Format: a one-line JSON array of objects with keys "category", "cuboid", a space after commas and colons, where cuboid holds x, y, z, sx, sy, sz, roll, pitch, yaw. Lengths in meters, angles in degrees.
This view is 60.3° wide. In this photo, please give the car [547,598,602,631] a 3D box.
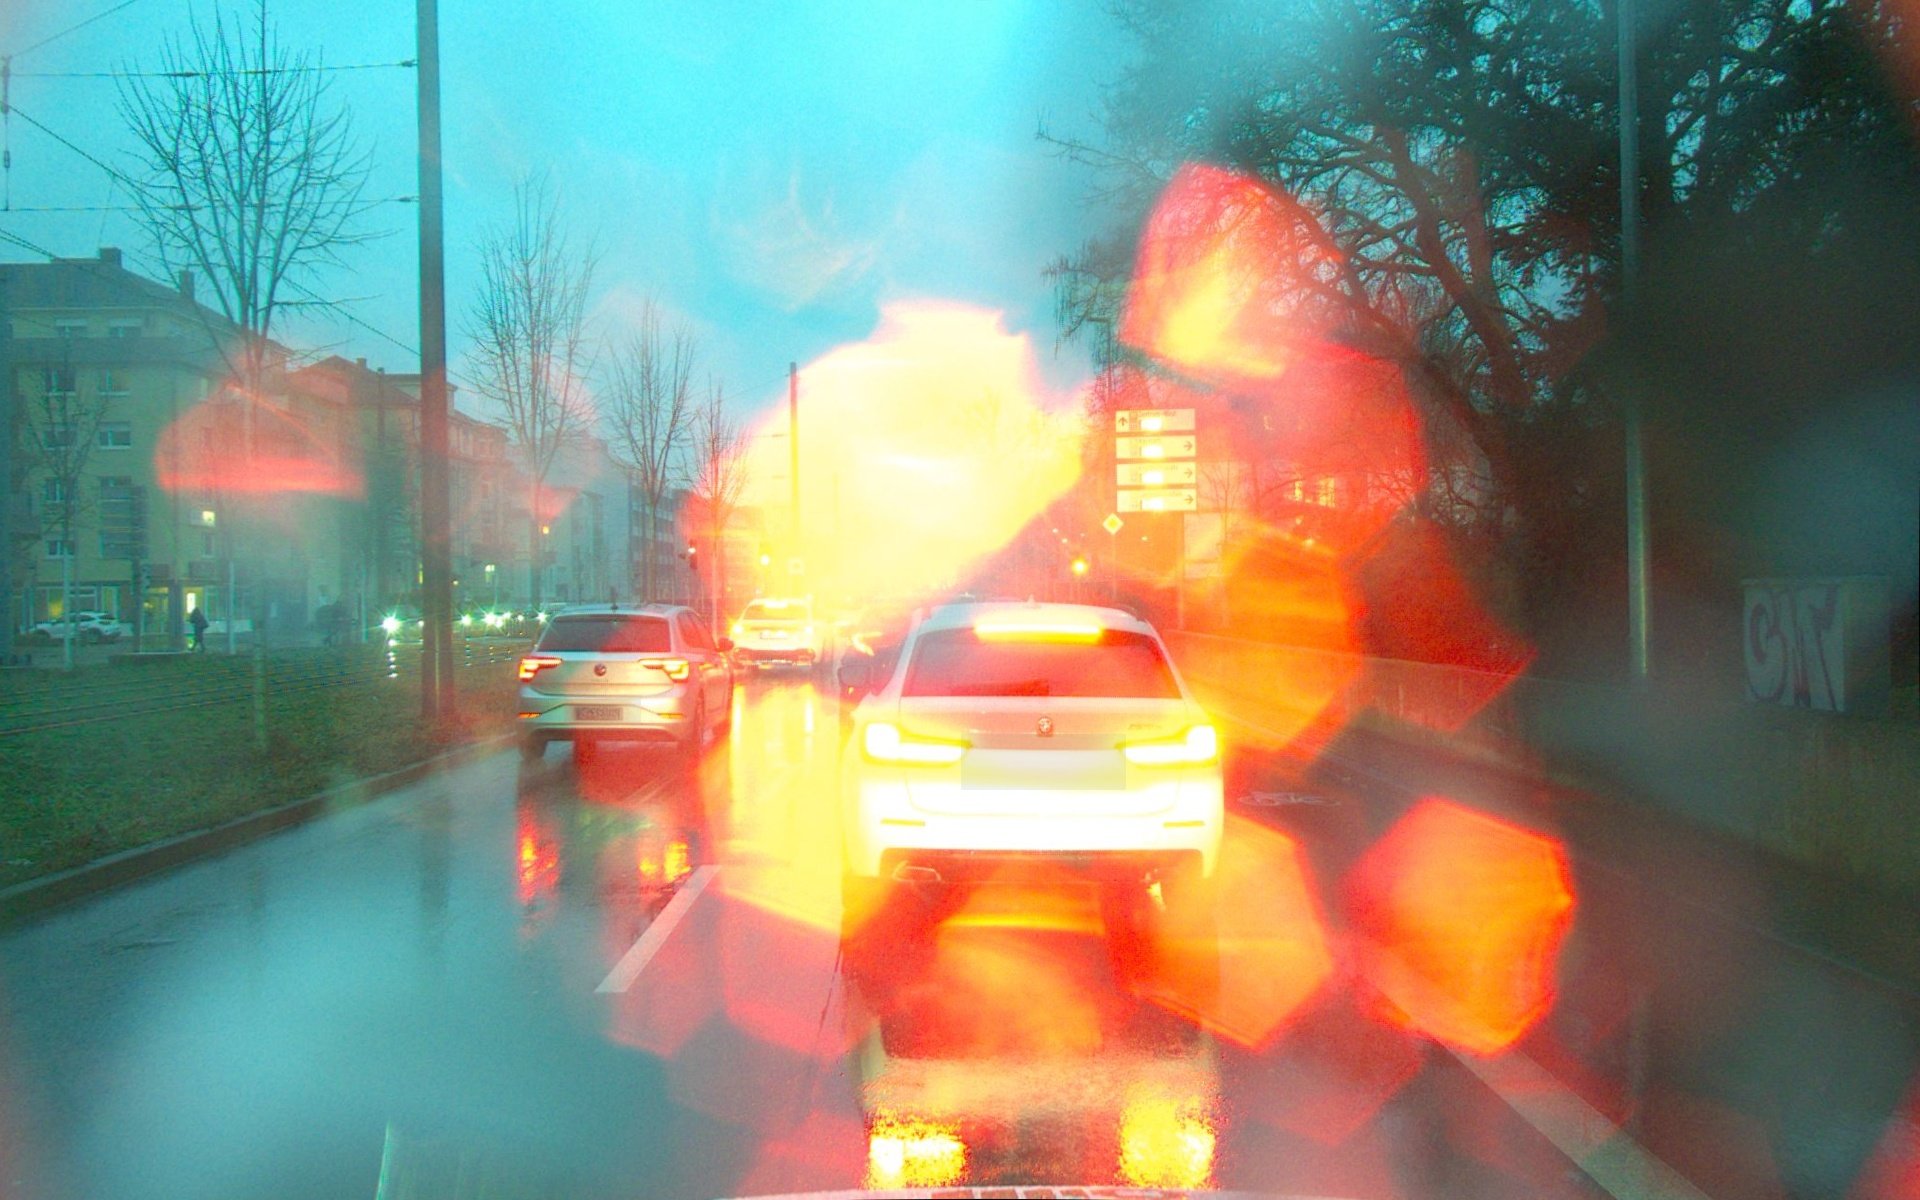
[{"category": "car", "cuboid": [-19.614, 0.729, 84.262, 1.953, 1.630, 3.998, 1, 0, -2]}]

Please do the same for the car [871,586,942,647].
[{"category": "car", "cuboid": [-1.315, 0.388, 41.740, 1.702, 1.444, 3.702, -1, 0, -1]}]

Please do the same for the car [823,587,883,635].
[{"category": "car", "cuboid": [-3.421, 0.327, 53.456, 1.702, 1.444, 4.393, -1, 0, -1]}]

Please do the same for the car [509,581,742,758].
[{"category": "car", "cuboid": [-3.211, 0.602, 16.587, 1.659, 1.560, 3.998, 0, 0, -2]}]

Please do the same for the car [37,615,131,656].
[{"category": "car", "cuboid": [-43.739, 1.754, 82.638, 3.679, 1.976, 1.838, 1, 0, -9]}]

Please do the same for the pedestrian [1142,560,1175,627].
[{"category": "pedestrian", "cuboid": [6.199, -0.203, 51.668, 0.938, 2.049, 1.008, -1, 0, 5]}]

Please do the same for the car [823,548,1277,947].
[{"category": "car", "cuboid": [0.335, 0.585, 9.207, 1.825, 1.583, 4.937, -1, 0, -1]}]

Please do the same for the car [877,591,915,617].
[{"category": "car", "cuboid": [-3.342, 0.196, 87.179, 1.891, 1.311, 3.999, 1, 0, -1]}]

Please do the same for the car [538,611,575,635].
[{"category": "car", "cuboid": [-24.025, 1.357, 98.645, 1.659, 1.300, 4.142, -1, 0, -7]}]

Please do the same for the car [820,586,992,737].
[{"category": "car", "cuboid": [-0.583, 0.638, 19.027, 1.763, 1.537, 3.894, -1, 0, -1]}]

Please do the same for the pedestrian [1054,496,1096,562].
[{"category": "pedestrian", "cuboid": [3.651, -2.250, 52.497, 0.946, 2.049, 1.000, -1, 0, -23]}]

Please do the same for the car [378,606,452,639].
[{"category": "car", "cuboid": [-23.545, 0.958, 71.639, 1.821, 1.355, 4.314, 1, 0, -1]}]

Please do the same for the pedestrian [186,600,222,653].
[{"category": "pedestrian", "cuboid": [-29.858, 1.036, 65.297, 1.253, 2.049, 1.000, -1, 0, -25]}]

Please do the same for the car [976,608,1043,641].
[{"category": "car", "cuboid": [2.269, 1.123, 76.346, 1.714, 1.444, 3.676, -1, 0, -23]}]

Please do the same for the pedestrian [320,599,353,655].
[{"category": "pedestrian", "cuboid": [-23.408, 1.014, 62.115, 0.942, 2.049, 1.005, -1, 0, -11]}]

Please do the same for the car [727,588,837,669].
[{"category": "car", "cuboid": [-3.525, 0.520, 33.417, 1.762, 1.492, 4.585, -1, 0, -1]}]

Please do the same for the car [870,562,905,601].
[{"category": "car", "cuboid": [-3.250, -0.815, 74.147, 1.475, 1.681, 2.842, 1, 0, -4]}]

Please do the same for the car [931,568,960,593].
[{"category": "car", "cuboid": [-0.910, -1.178, 102.070, 1.702, 1.444, 4.145, -1, 0, -1]}]
